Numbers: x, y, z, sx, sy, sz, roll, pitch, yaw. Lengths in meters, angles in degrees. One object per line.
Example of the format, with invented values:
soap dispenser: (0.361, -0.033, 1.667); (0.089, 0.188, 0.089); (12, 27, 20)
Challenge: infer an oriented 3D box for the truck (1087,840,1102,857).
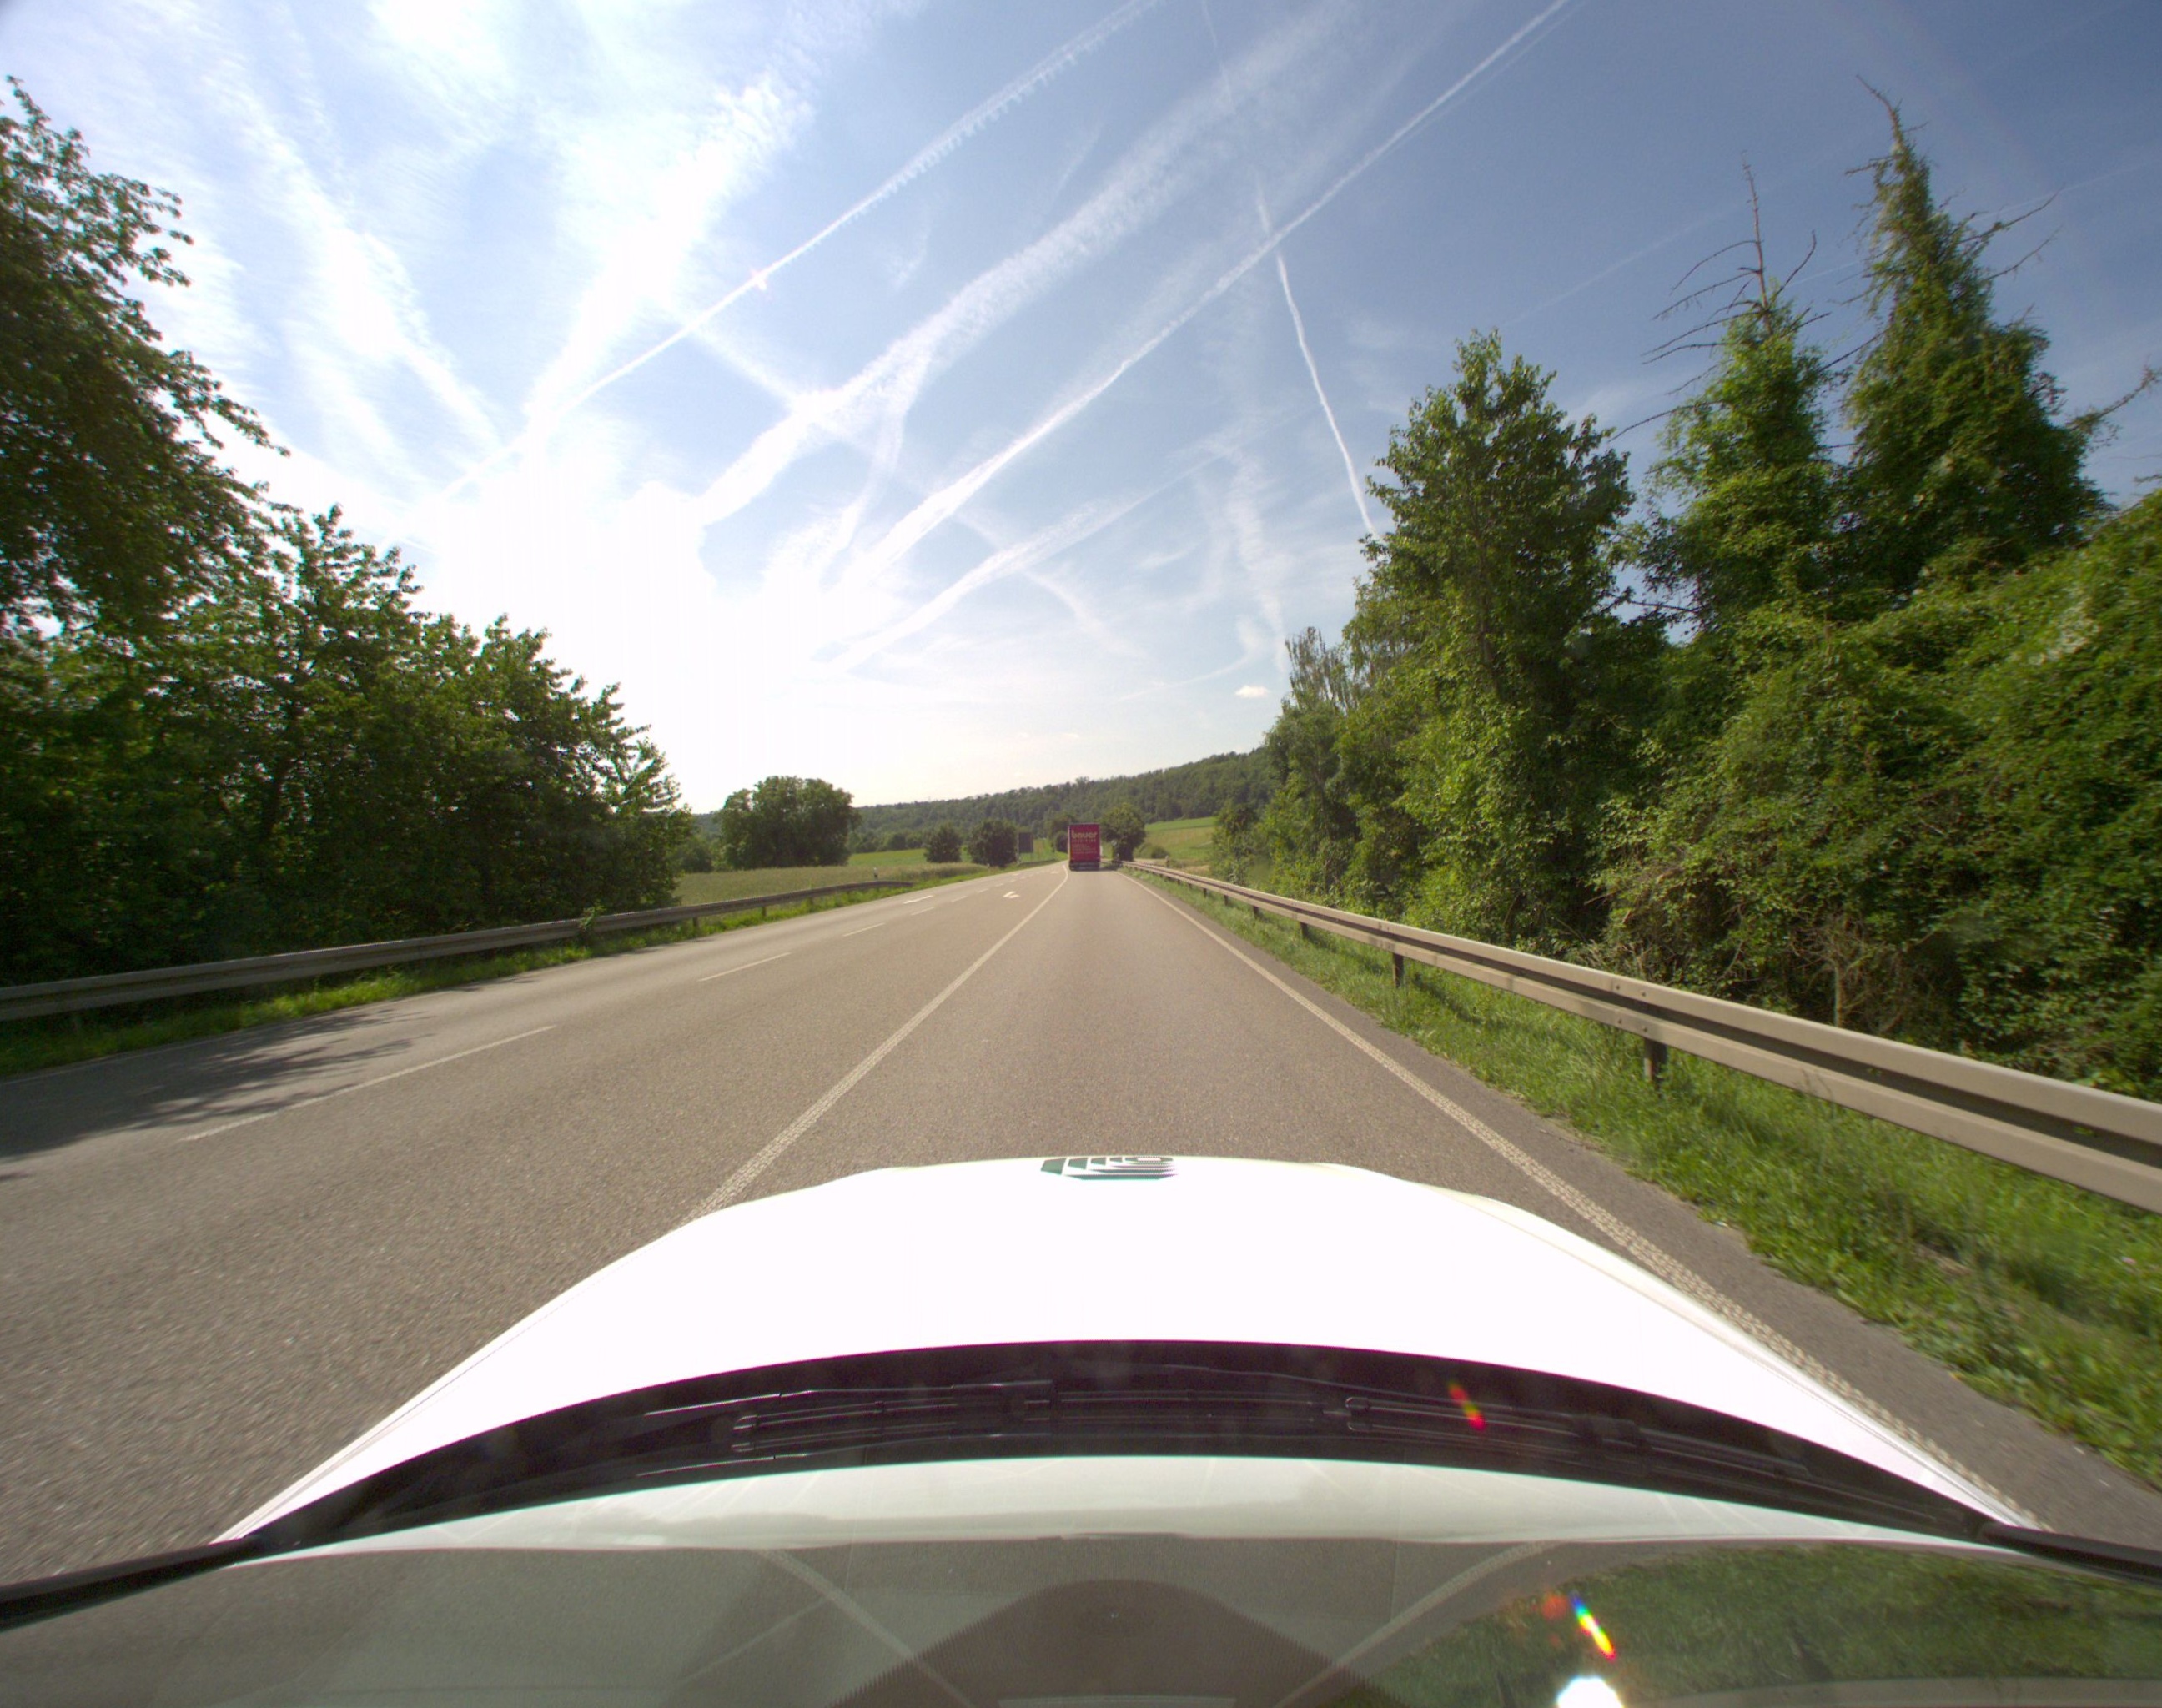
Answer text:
truck: (3.686, -1.502, 217.680); (3.891, 4.369, 13.293); (1, 0, 1)

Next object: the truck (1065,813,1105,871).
truck: (0.314, -1.021, 73.756); (3.162, 4.625, 13.540); (-2, 0, 0)

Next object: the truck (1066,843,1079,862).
truck: (-2.029, -0.364, 192.484); (2.521, 4.119, 6.023); (-3, 0, 2)
